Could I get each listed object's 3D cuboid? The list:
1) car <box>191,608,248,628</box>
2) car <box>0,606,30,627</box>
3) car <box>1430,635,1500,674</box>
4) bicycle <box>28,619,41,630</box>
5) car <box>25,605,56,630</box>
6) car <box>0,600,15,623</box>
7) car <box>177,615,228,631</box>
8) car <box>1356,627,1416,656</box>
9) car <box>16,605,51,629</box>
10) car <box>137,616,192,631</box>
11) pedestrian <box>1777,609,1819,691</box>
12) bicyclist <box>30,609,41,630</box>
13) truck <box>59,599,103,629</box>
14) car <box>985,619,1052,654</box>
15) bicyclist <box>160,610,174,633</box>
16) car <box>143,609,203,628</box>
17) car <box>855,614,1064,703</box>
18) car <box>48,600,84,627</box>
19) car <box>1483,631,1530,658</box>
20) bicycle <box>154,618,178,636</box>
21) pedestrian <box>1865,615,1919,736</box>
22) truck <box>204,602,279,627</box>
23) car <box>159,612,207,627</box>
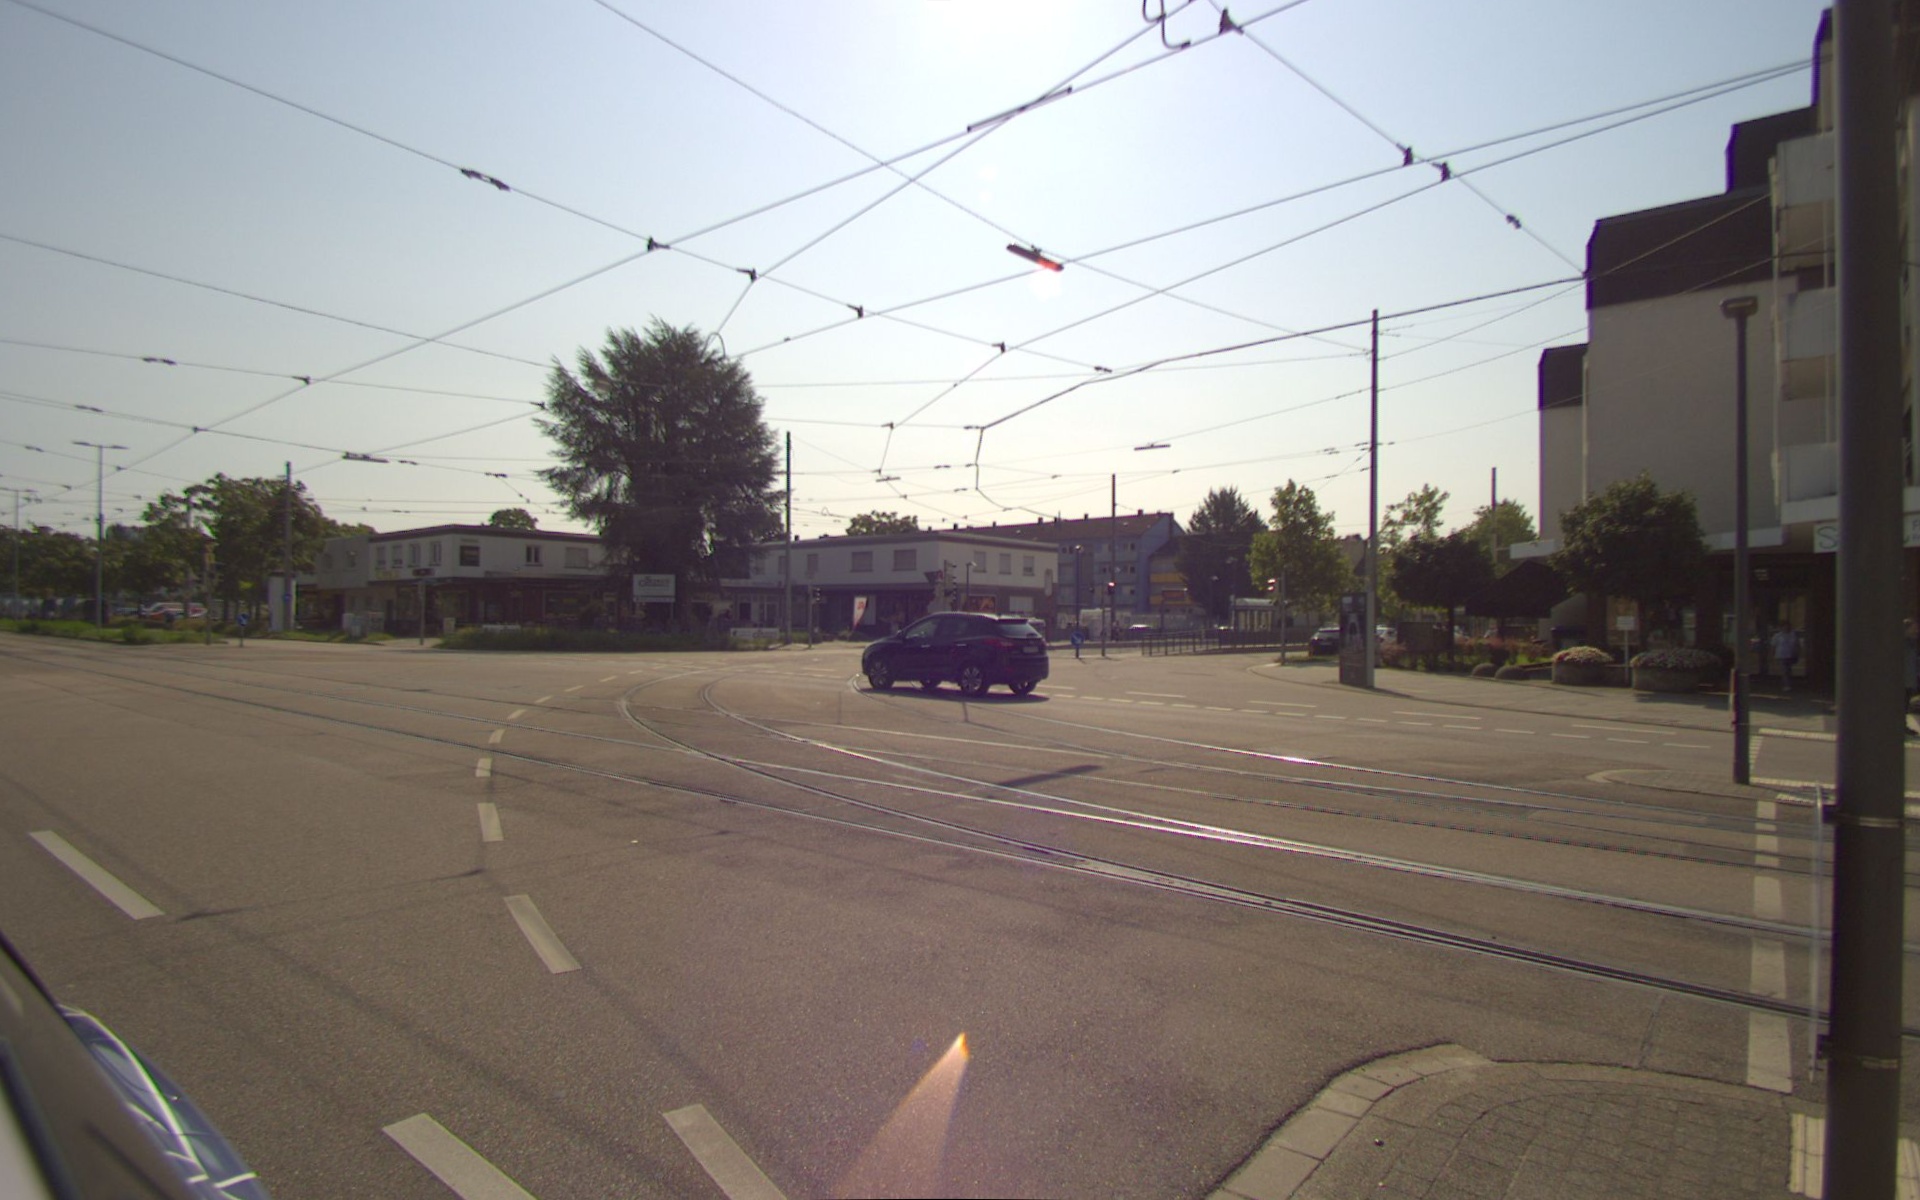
[{"bbox_3d":[-75.455,1.830,103.182,1.631,1.798,4.355,0,-3,39],"label":"car"},{"bbox_3d":[-114.606,1.996,122.551,4.827,2.477,2.121,0,-3,39],"label":"car"},{"bbox_3d":[22.160,2.347,44.364,1.928,1.519,4.068,0,-1,39],"label":"car"},{"bbox_3d":[-90.850,2.398,99.357,2.265,1.099,0.707,-1,-4,43],"label":"bicycle"},{"bbox_3d":[-97.809,1.900,107.616,5.907,2.606,1.803,-1,-1,42],"label":"car"},{"bbox_3d":[-122.010,1.404,128.500,7.227,2.826,2.102,0,-3,41],"label":"car"},{"bbox_3d":[-77.947,2.360,104.226,1.631,1.530,3.884,0,-3,39],"label":"car"},{"bbox_3d":[20.674,2.027,49.008,1.671,1.309,4.069,0,-3,38],"label":"car"},{"bbox_3d":[-103.417,1.902,112.957,5.628,2.606,2.110,0,-3,41],"label":"car"},{"bbox_3d":[-89.855,2.653,114.385,1.631,1.461,4.607,0,-3,39],"label":"car"},{"bbox_3d":[18.385,1.090,22.221,0.697,1.754,0.673,0,-3,39],"label":"pedestrian"},{"bbox_3d":[-90.844,1.924,99.422,0.774,2.080,0.630,-1,-4,43],"label":"bicyclist"},{"bbox_3d":[-80.757,1.282,92.982,5.734,2.567,2.060,0,-3,40],"label":"truck"},{"bbox_3d":[3.380,2.052,58.219,1.823,1.901,3.971,-1,-1,42],"label":"car"},{"bbox_3d":[-54.622,1.470,69.681,0.488,1.534,0.563,0,-3,32],"label":"bicyclist"},{"bbox_3d":[-91.198,2.163,117.305,2.050,1.940,5.134,0,-3,39],"label":"car"},{"bbox_3d":[-0.075,1.170,21.256,4.246,1.667,1.794,0,-3,41],"label":"car"},{"bbox_3d":[-88.069,1.317,99.639,6.466,2.606,1.967,-1,-1,42],"label":"car"},{"bbox_3d":[37.501,3.058,69.369,2.000,1.666,3.944,-1,-3,42],"label":"car"},{"bbox_3d":[-54.730,1.886,69.721,2.201,1.189,0.570,-2,-4,33],"label":"bicycle"},{"bbox_3d":[14.055,1.123,15.100,0.559,1.758,0.599,1,-3,7],"label":"pedestrian"},{"bbox_3d":[-69.682,1.424,98.178,2.257,2.189,5.435,0,-3,39],"label":"truck"},{"bbox_3d":[-85.598,2.122,111.513,1.631,1.461,3.884,0,-3,39],"label":"car"}]
